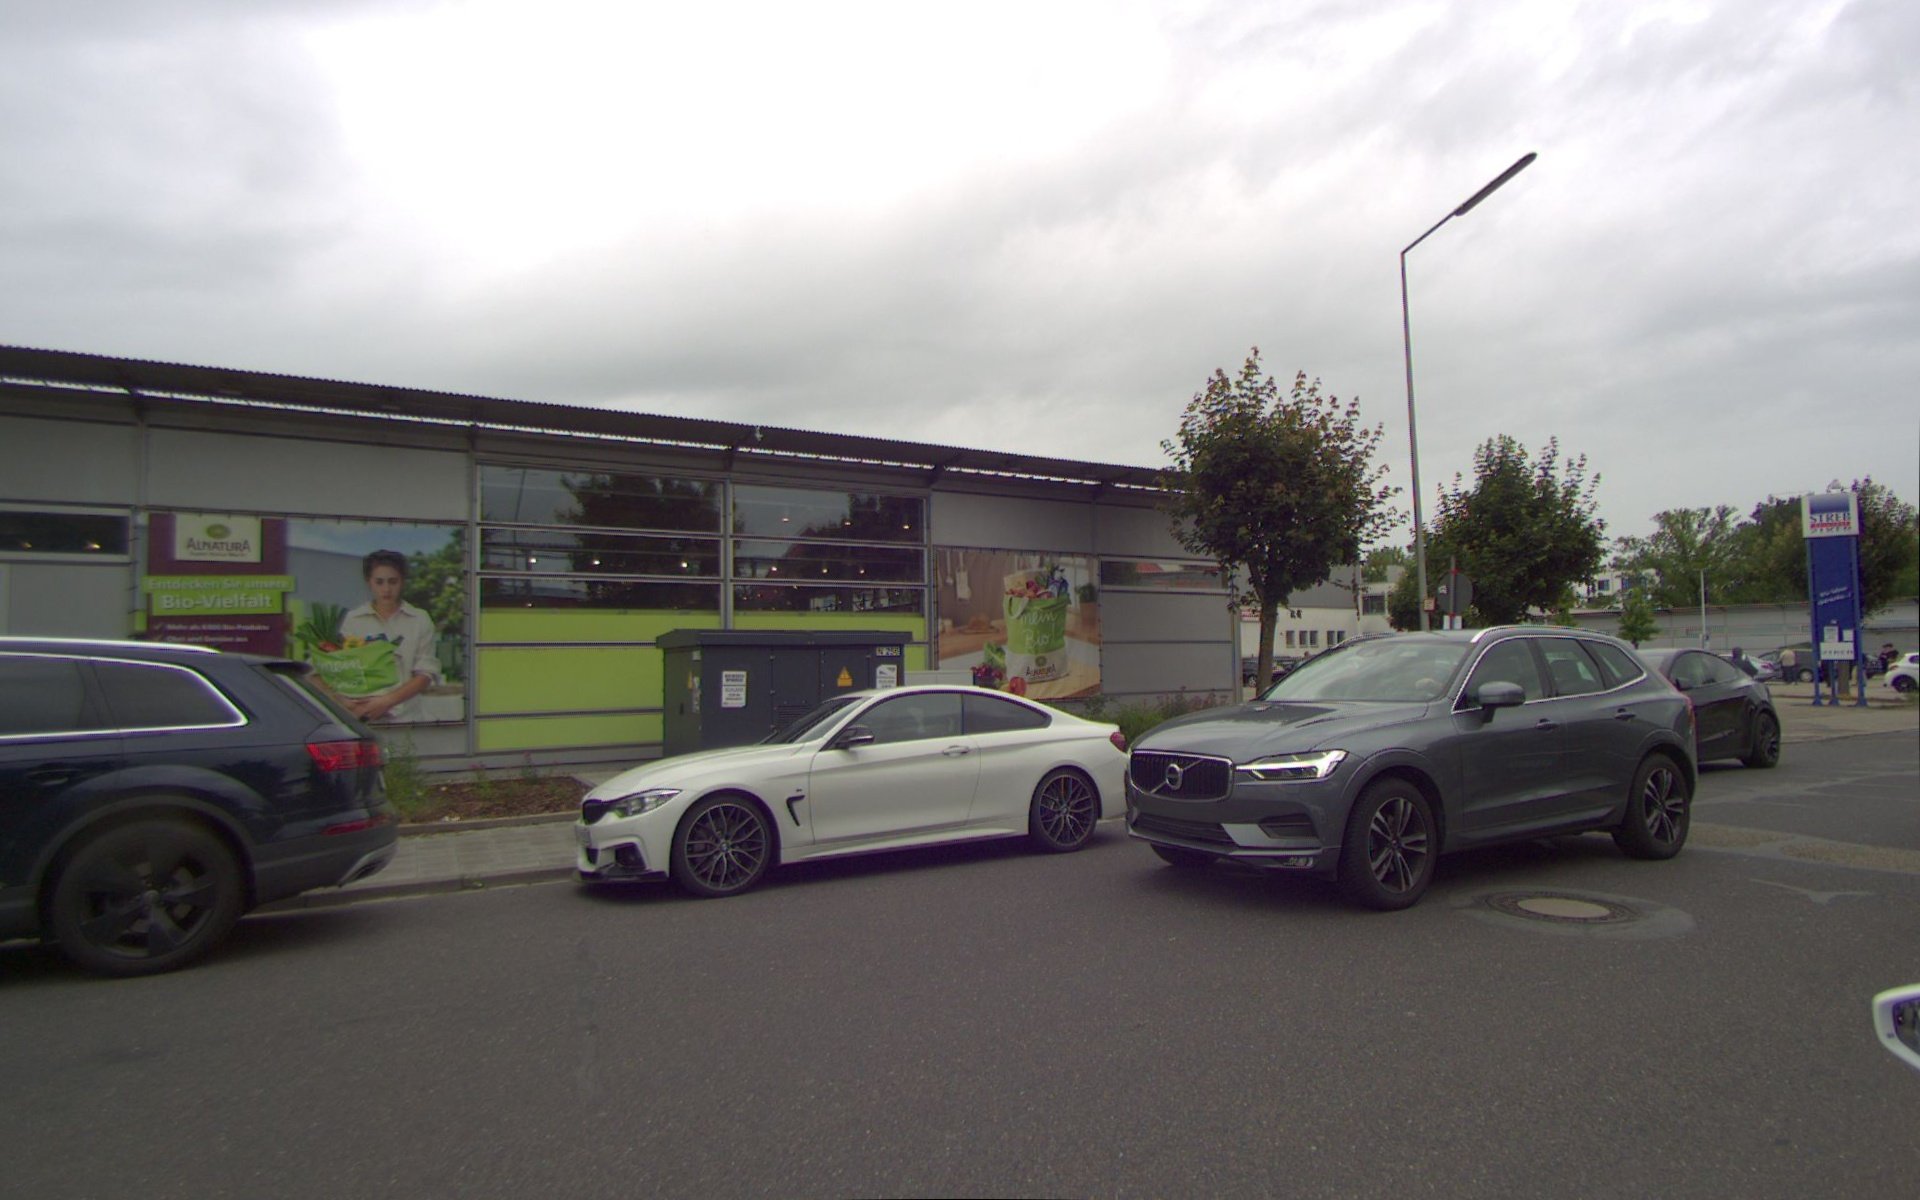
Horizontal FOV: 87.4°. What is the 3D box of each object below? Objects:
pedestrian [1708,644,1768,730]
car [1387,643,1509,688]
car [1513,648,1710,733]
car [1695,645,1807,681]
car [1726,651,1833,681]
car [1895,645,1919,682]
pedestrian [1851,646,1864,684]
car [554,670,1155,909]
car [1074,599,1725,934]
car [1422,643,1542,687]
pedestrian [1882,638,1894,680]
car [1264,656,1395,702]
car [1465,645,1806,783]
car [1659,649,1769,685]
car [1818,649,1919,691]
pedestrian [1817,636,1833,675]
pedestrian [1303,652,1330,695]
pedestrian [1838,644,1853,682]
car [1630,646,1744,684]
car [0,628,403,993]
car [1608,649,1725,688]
[{"bbox_3d":[16.168,1.781,20.878,0.689,1.737,0.771,1,-3,-34],"label":"pedestrian"},{"bbox_3d":[19.185,2.590,39.687,1.853,1.690,3.971,1,-4,-29],"label":"car"},{"bbox_3d":[16.873,2.308,26.191,1.744,2.039,3.904,2,-4,-36],"label":"car"},{"bbox_3d":[39.795,3.183,50.632,1.853,1.690,3.971,1,-4,-29],"label":"car"},{"bbox_3d":[43.089,3.498,52.923,1.764,1.511,3.972,1,-4,-28],"label":"car"},{"bbox_3d":[39.390,2.442,39.031,1.879,1.482,4.111,2,-4,-34],"label":"car"},{"bbox_3d":[37.866,2.738,42.370,0.500,1.590,0.326,2,-3,-44],"label":"pedestrian"},{"bbox_3d":[-0.747,1.355,8.025,4.465,1.384,1.692,1,-9,-30],"label":"car"},{"bbox_3d":[3.184,0.971,7.118,4.441,1.705,1.925,1,-5,-30],"label":"car"},{"bbox_3d":[21.210,2.670,40.953,1.853,1.690,3.971,1,-4,-29],"label":"car"},{"bbox_3d":[38.687,2.468,41.886,0.419,1.752,0.260,2,-4,-42],"label":"pedestrian"},{"bbox_3d":[12.970,2.753,35.371,3.941,1.504,1.868,-3,-4,40],"label":"car"},{"bbox_3d":[8.954,1.460,13.260,4.351,1.545,1.939,1,-8,-31],"label":"car"},{"bbox_3d":[37.498,3.348,50.047,1.853,1.690,3.971,1,-4,-29],"label":"car"},{"bbox_3d":[34.618,2.561,37.052,1.935,1.482,4.174,2,-4,-36],"label":"car"},{"bbox_3d":[37.412,2.407,43.431,0.450,1.663,0.372,-4,-4,43],"label":"pedestrian"},{"bbox_3d":[14.570,2.994,41.075,0.689,1.738,0.795,1,-2,-34],"label":"pedestrian"},{"bbox_3d":[37.913,2.689,42.999,0.500,1.590,0.356,2,-4,-43],"label":"pedestrian"},{"bbox_3d":[34.573,3.102,47.878,1.853,1.690,3.971,1,-4,-29],"label":"car"},{"bbox_3d":[-5.608,1.086,5.236,4.671,1.712,1.859,1,-7,-29],"label":"car"},{"bbox_3d":[32.516,3.146,46.329,1.853,1.690,3.971,1,-4,-29],"label":"car"}]
